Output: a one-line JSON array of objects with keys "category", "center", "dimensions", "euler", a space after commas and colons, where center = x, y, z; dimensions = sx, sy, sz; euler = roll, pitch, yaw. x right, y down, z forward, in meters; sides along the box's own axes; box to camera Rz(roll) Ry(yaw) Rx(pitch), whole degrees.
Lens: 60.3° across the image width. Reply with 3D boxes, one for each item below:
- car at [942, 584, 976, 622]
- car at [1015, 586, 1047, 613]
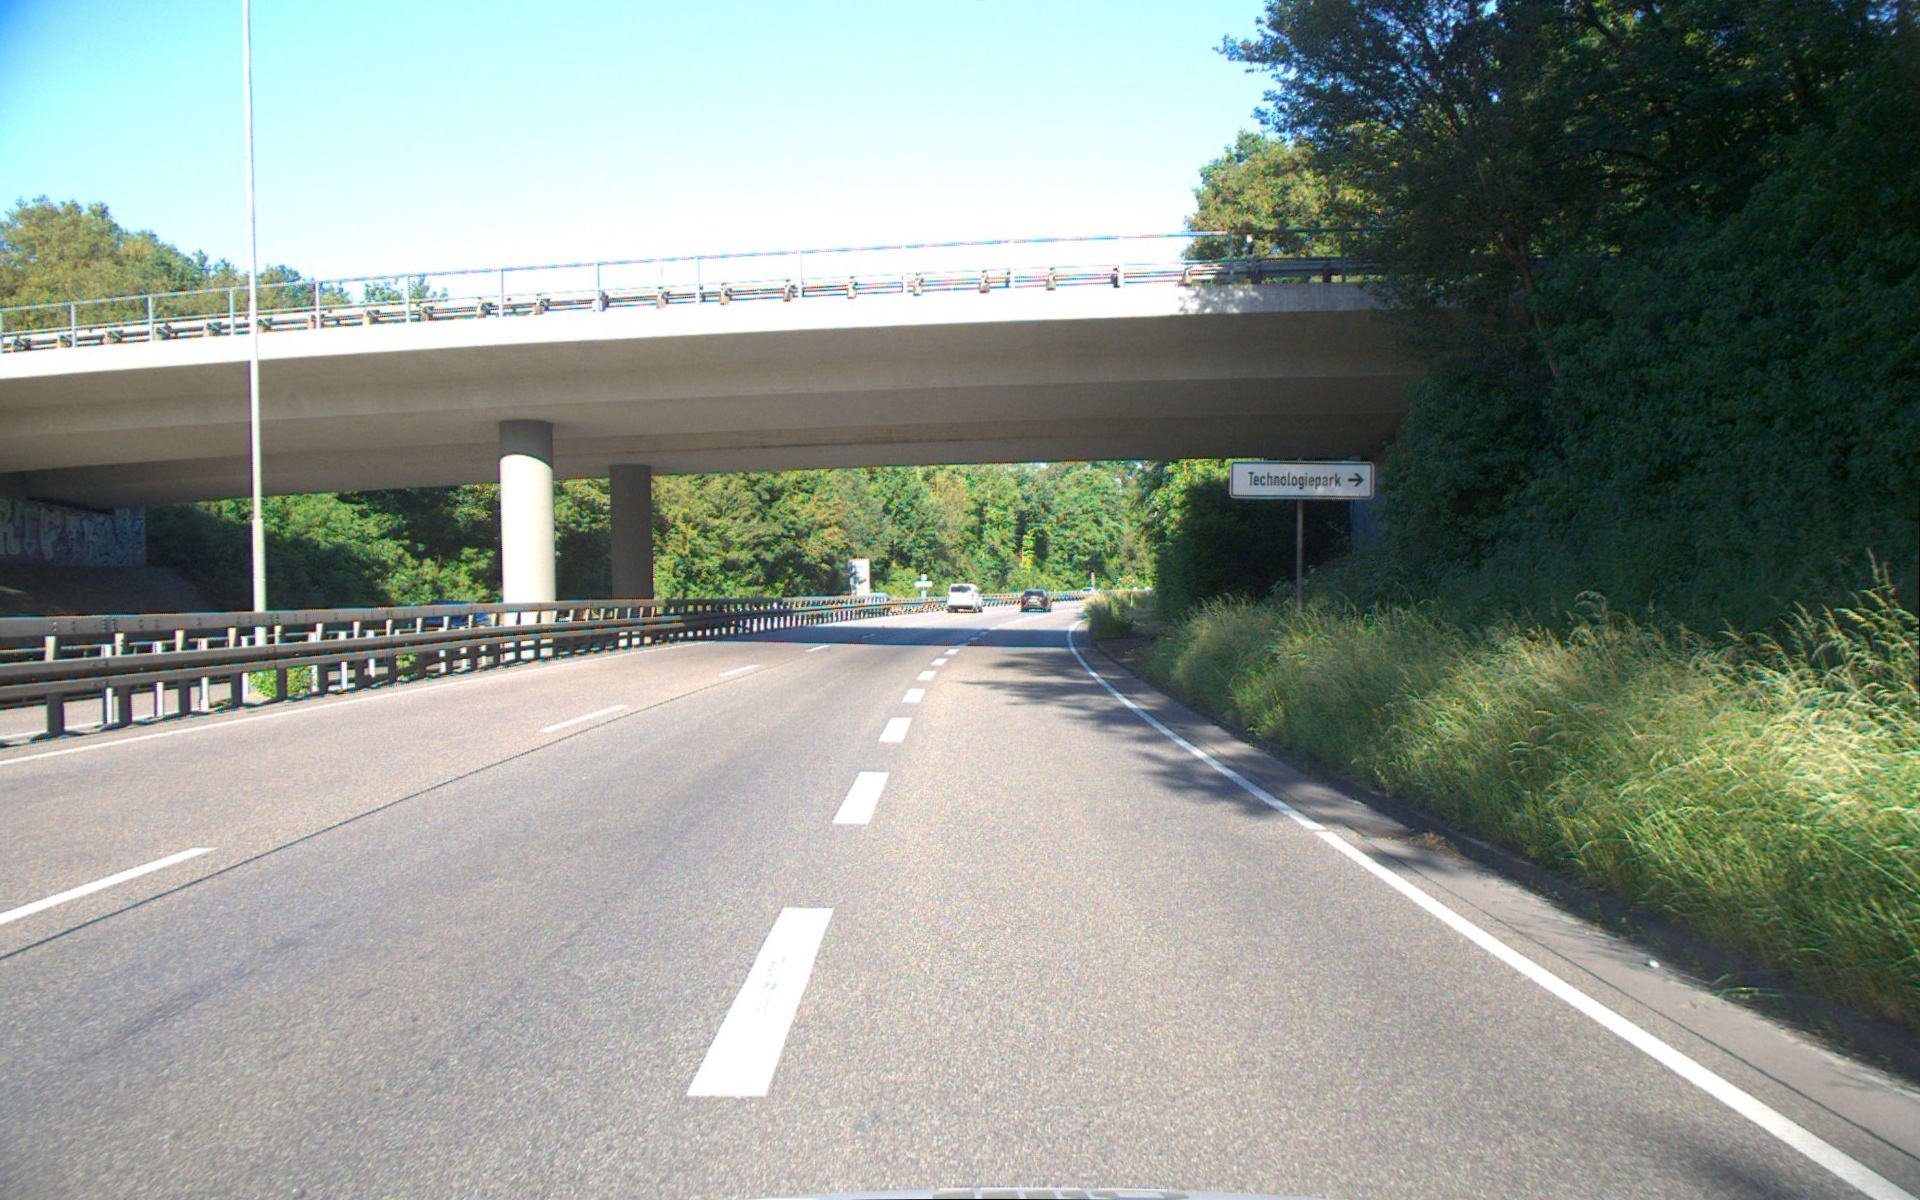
[{"category": "car", "center": [-0.047, 0.180, 103.330], "dimensions": [1.952, 2.317, 4.001], "euler": [-1, 0, 2]}, {"category": "car", "center": [4.683, -0.034, 108.991], "dimensions": [1.702, 1.691, 3.949], "euler": [-1, 0, 8]}]
